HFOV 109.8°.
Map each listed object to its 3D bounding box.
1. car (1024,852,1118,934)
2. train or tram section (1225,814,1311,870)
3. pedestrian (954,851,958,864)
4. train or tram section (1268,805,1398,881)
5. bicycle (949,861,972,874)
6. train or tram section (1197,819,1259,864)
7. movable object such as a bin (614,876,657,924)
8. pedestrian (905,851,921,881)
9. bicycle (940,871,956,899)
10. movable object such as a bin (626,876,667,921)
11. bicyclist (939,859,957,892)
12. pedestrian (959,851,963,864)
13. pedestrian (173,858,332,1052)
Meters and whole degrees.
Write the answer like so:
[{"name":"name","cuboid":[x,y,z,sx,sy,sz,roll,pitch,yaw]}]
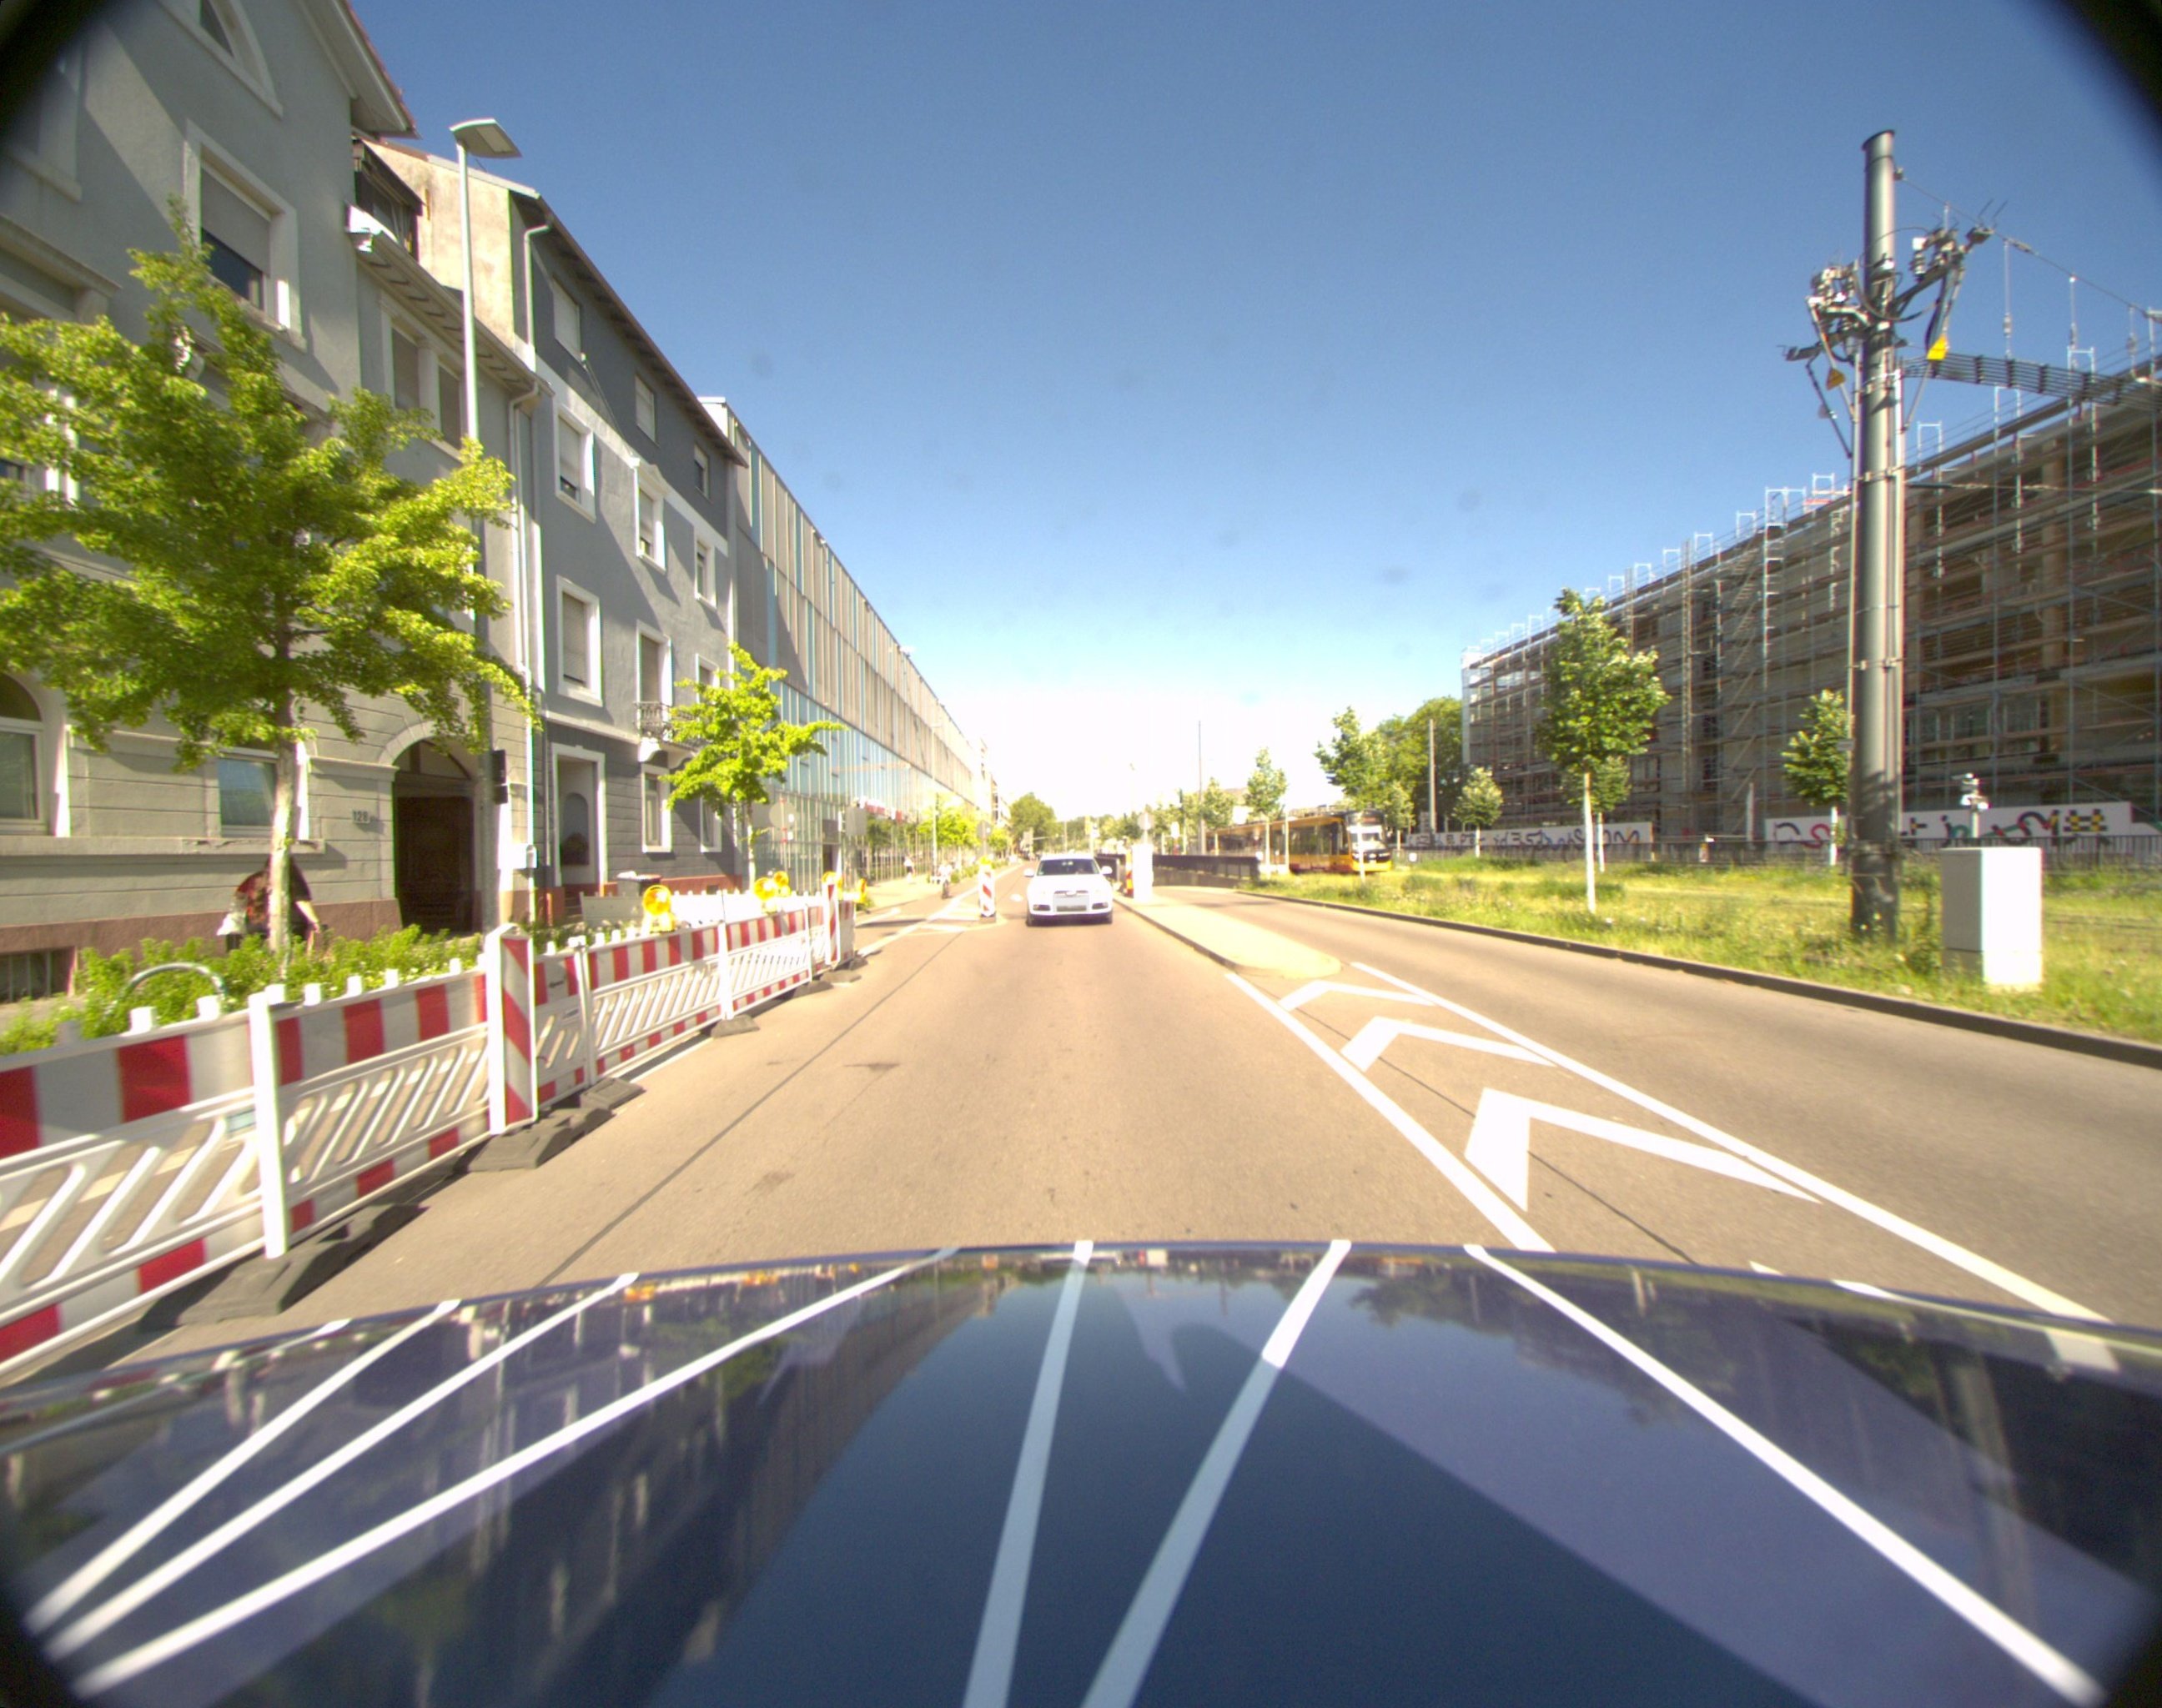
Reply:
[{"name":"car","cuboid":[-0.347,0.827,18.256,1.935,1.624,3.998,-3,1,-4]},{"name":"train or tram section","cuboid":[13.462,-0.855,56.187,2.823,3.618,12.784,-1,1,-2]},{"name":"pedestrian","cuboid":[-16.248,0.477,99.023,0.450,1.591,0.287,-2,1,-3]},{"name":"train or tram section","cuboid":[13.854,-0.629,43.381,2.823,3.618,12.784,-1,1,-2]},{"name":"bicycle","cuboid":[-9.619,1.076,60.492,1.741,1.056,0.467,1,0,-18]},{"name":"train or tram section","cuboid":[13.087,-1.124,68.961,2.823,3.618,12.784,-1,1,-2]},{"name":"movable object such as a bin","cuboid":[-10.833,1.105,18.485,0.590,1.101,0.703,-2,1,-1]},{"name":"pedestrian","cuboid":[-10.791,0.766,48.845,0.878,1.914,0.895,1,3,-3]},{"name":"bicycle","cuboid":[-6.078,1.415,34.789,0.610,1.144,1.986,-3,1,-7]},{"name":"movable object such as a bin","cuboid":[-11.025,1.123,19.296,0.604,1.076,0.703,-2,1,-1]},{"name":"bicyclist","cuboid":[-6.089,0.976,34.778,0.756,1.454,0.587,-2,2,-8]},{"name":"pedestrian","cuboid":[-15.664,0.416,99.071,0.450,1.681,0.344,-2,1,-3]},{"name":"pedestrian","cuboid":[-8.795,1.017,8.112,0.796,1.917,0.769,-2,1,-19]}]
